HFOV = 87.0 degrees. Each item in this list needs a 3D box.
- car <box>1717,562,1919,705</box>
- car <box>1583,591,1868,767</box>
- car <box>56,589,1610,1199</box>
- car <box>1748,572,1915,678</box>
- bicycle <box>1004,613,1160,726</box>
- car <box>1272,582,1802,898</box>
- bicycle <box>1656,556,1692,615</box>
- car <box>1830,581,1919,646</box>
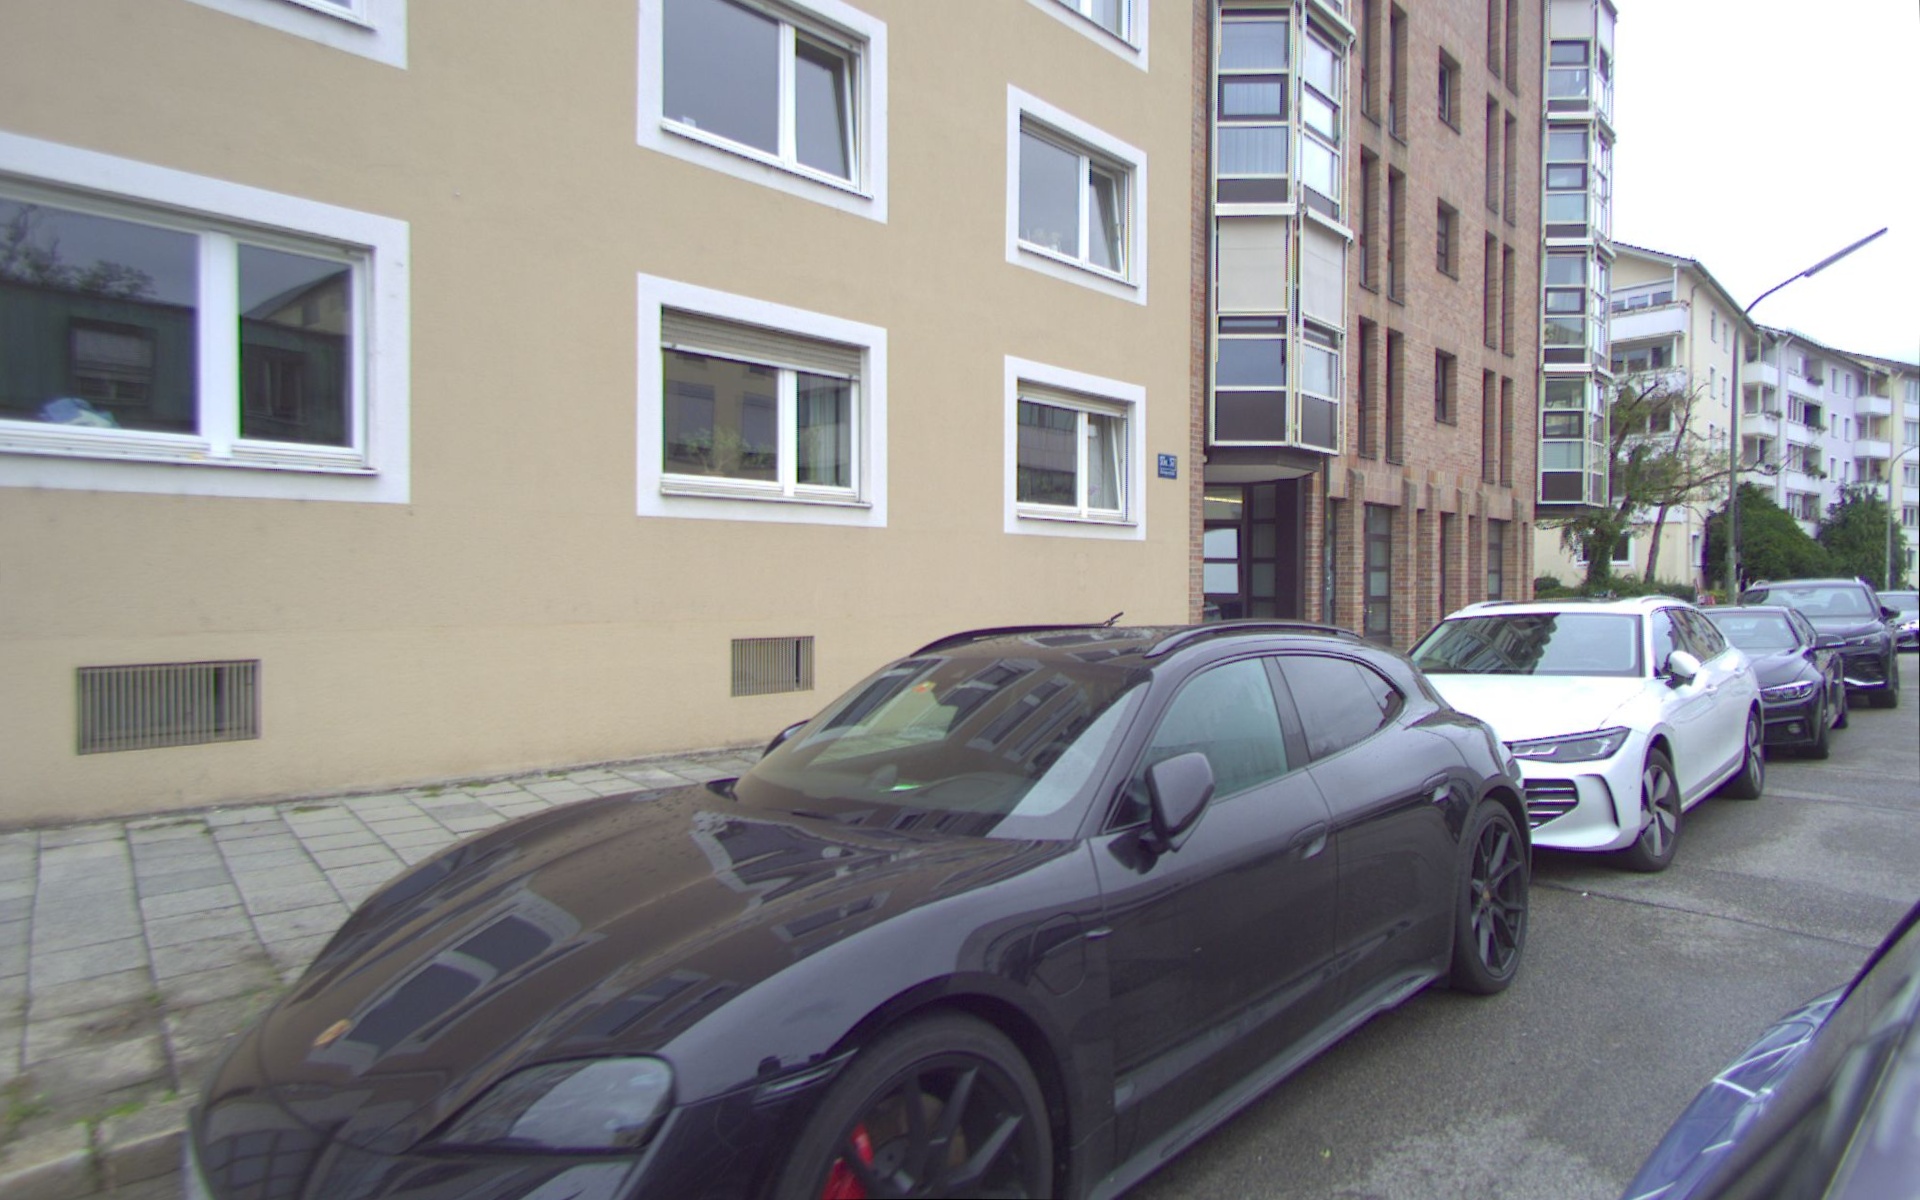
[{"bbox_3d":[12.032,0.342,14.124,1.877,1.666,4.572,1,2,43],"label":"car"},{"bbox_3d":[8.172,0.675,10.610,1.757,1.383,4.705,-5,-2,44],"label":"car"},{"bbox_3d":[0.328,0.714,3.417,5.027,1.431,1.957,-1,2,-43],"label":"car"},{"bbox_3d":[15.184,0.323,17.548,1.878,1.611,4.435,1,2,45],"label":"car"},{"bbox_3d":[1.315,0.691,10.726,1.723,1.046,0.677,-1,2,-42],"label":"bicycle"},{"bbox_3d":[4.255,0.604,6.990,4.931,1.432,1.856,-1,1,-44],"label":"car"},{"bbox_3d":[25.483,-0.531,36.096,1.960,2.039,0.652,-1,1,-43],"label":"bicycle"},{"bbox_3d":[22.891,0.292,24.628,4.257,1.455,1.881,-1,-1,-40],"label":"car"}]
